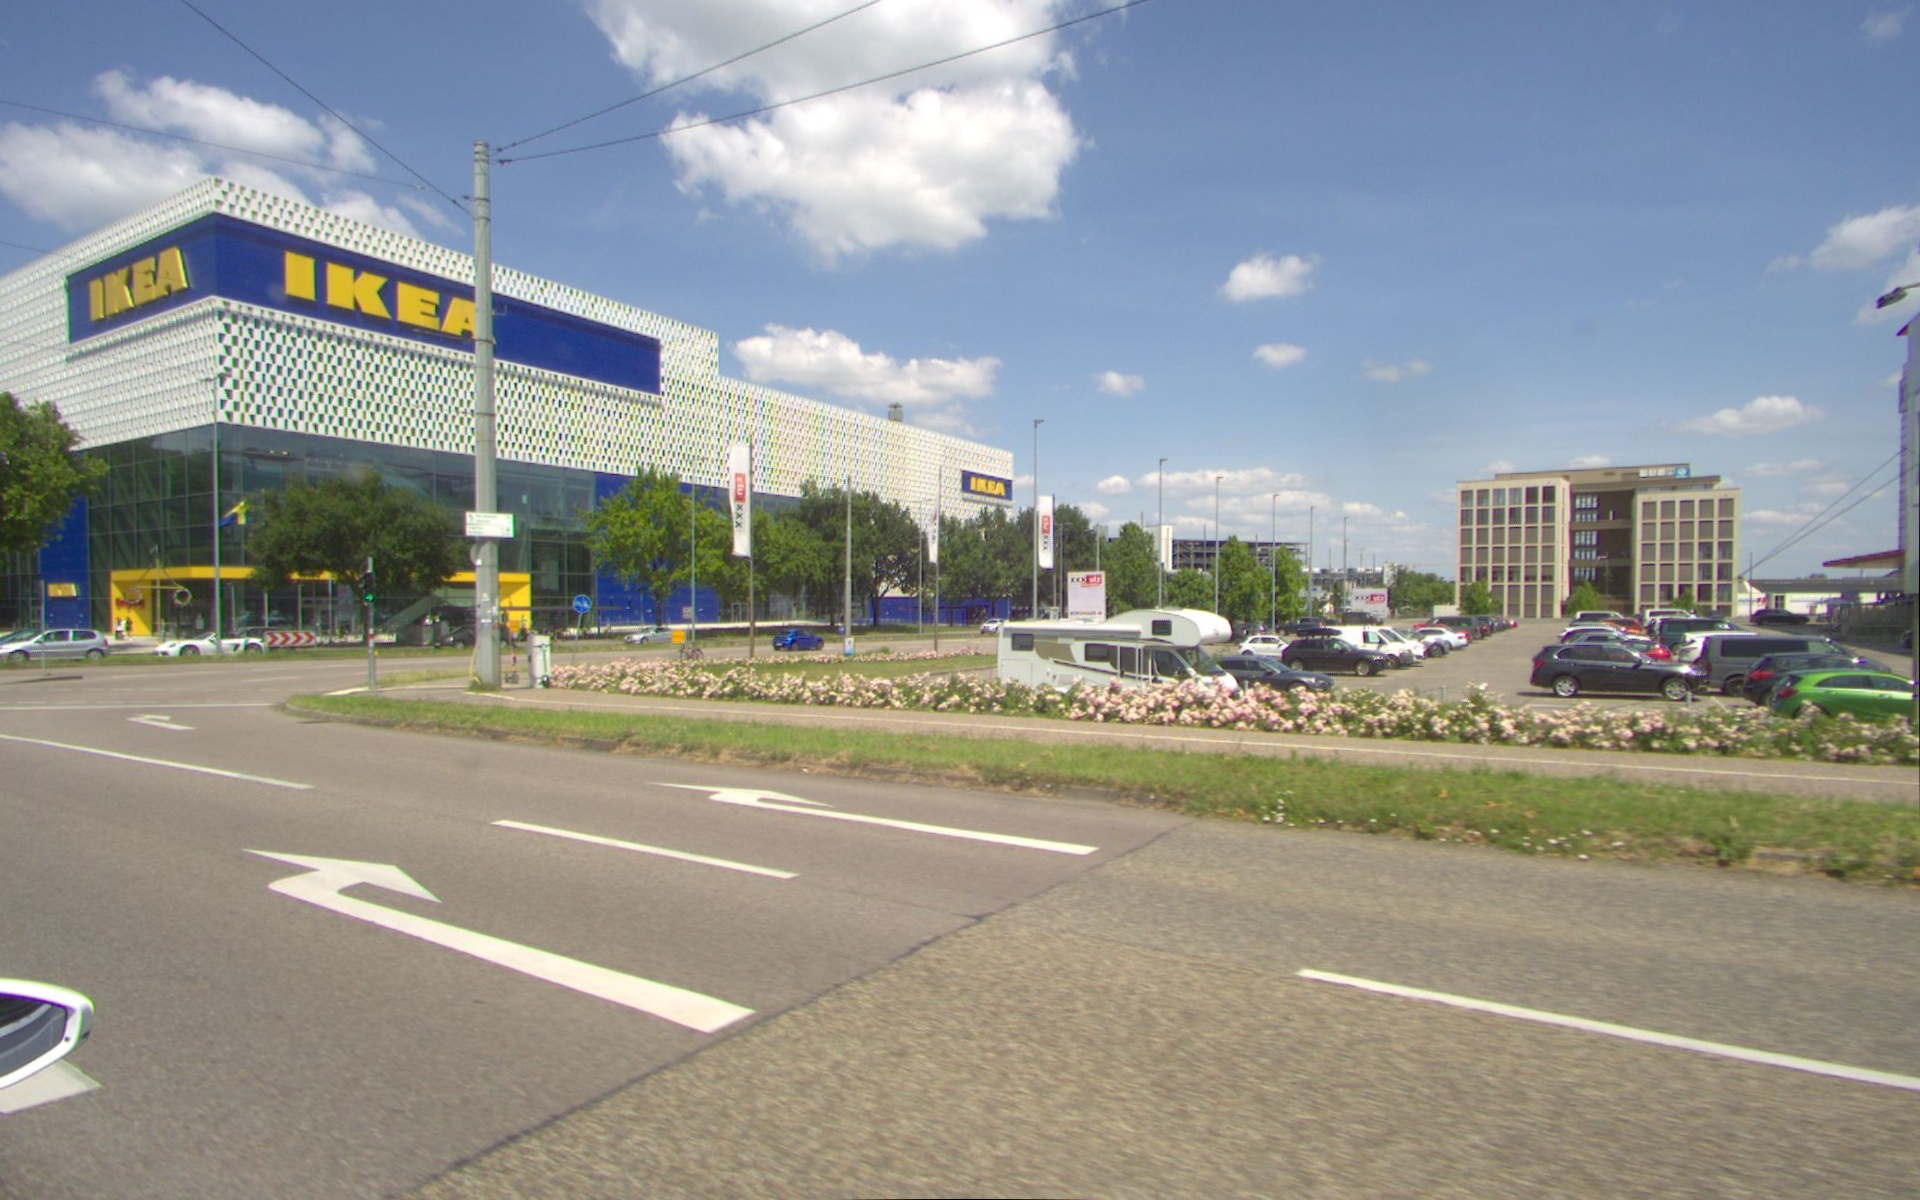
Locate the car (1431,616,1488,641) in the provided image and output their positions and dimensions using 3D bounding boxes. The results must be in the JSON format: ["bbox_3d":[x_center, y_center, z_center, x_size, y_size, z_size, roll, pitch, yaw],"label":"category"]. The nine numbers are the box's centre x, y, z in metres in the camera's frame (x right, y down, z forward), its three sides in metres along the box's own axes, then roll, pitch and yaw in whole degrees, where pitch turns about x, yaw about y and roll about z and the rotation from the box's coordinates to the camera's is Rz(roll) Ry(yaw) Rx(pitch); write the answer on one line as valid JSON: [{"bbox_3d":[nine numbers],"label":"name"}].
[{"bbox_3d":[40.415,2.304,81.004,3.942,2.040,1.990,-1,-1,32],"label":"car"}]

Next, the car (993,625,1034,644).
[{"bbox_3d":[4.511,2.854,83.552,1.741,1.546,4.080,0,-1,31],"label":"car"}]

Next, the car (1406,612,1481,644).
[{"bbox_3d":[36.291,2.109,75.229,4.929,2.333,1.990,0,-1,32],"label":"car"}]

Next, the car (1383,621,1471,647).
[{"bbox_3d":[30.114,2.167,64.641,4.929,1.631,1.990,-1,-1,32],"label":"car"}]

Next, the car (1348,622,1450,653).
[{"bbox_3d":[24.733,2.106,56.528,4.903,1.631,2.001,0,-1,2],"label":"car"}]

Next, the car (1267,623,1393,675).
[{"bbox_3d":[16.292,2.096,44.201,4.929,2.162,1.990,0,-1,32],"label":"car"}]

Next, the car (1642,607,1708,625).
[{"bbox_3d":[67.989,1.520,95.305,4.929,1.631,1.990,-1,-1,32],"label":"car"}]

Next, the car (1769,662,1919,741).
[{"bbox_3d":[21.631,2.333,23.209,4.241,1.517,1.988,-1,2,32],"label":"car"}]

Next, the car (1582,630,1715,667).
[{"bbox_3d":[31.793,2.216,46.442,4.927,1.631,1.991,0,-1,31],"label":"car"}]

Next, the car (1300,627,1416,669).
[{"bbox_3d":[19.130,2.261,48.225,4.929,1.876,1.990,-1,-1,32],"label":"car"}]

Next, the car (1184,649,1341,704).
[{"bbox_3d":[10.087,2.505,33.468,4.701,1.558,1.989,-1,0,32],"label":"car"}]

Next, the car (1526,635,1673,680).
[{"bbox_3d":[25.897,2.290,40.733,4.929,1.632,1.989,-1,0,32],"label":"car"}]

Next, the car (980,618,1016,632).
[{"bbox_3d":[4.337,2.849,113.625,1.973,1.505,4.486,0,-2,35],"label":"car"}]

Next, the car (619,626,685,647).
[{"bbox_3d":[-23.230,2.780,75.601,1.973,1.505,4.486,0,-2,35],"label":"car"}]

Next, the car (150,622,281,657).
[{"bbox_3d":[-34.258,1.828,46.183,1.973,1.505,4.486,0,-2,35],"label":"car"}]

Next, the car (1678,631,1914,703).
[{"bbox_3d":[26.034,2.029,31.521,5.455,2.039,1.990,-1,-1,32],"label":"car"}]

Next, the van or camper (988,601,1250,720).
[{"bbox_3d":[4.443,1.624,28.891,7.128,3.059,2.500,-1,-1,36],"label":"van or camper"}]

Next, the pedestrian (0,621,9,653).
[{"bbox_3d":[-50.606,1.953,52.747,0.699,1.656,0.607,1,-1,-39],"label":"pedestrian"}]

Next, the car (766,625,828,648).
[{"bbox_3d":[-11.046,2.459,67.969,1.822,1.473,3.971,0,-3,40],"label":"car"}]

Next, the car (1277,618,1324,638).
[{"bbox_3d":[32.427,2.643,95.262,3.942,1.863,1.819,-1,-1,32],"label":"car"}]

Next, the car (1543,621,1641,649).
[{"bbox_3d":[37.805,2.078,60.043,4.929,1.631,1.990,-1,-1,32],"label":"car"}]

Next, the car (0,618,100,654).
[{"bbox_3d":[-39.978,1.547,43.373,1.973,1.505,3.780,0,-2,35],"label":"car"}]

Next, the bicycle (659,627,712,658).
[{"bbox_3d":[-13.580,2.101,49.589,0.975,1.500,2.415,0,-1,36],"label":"bicycle"}]

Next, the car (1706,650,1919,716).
[{"bbox_3d":[23.592,2.225,27.386,4.929,1.570,1.990,-1,-1,32],"label":"car"}]

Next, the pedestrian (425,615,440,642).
[{"bbox_3d":[-40.603,2.172,77.007,0.813,2.040,0.709,0,-1,34],"label":"pedestrian"}]

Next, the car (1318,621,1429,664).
[{"bbox_3d":[20.720,2.092,50.271,4.929,2.033,1.990,0,-1,32],"label":"car"}]

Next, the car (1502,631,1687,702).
[{"bbox_3d":[20.419,2.083,32.439,4.929,2.040,1.989,0,1,32],"label":"car"}]

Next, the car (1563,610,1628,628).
[{"bbox_3d":[57.307,1.702,90.388,4.929,1.631,1.990,-1,-1,32],"label":"car"}]

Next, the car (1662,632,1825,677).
[{"bbox_3d":[31.160,2.128,40.053,4.929,1.631,1.990,-1,-1,32],"label":"car"}]

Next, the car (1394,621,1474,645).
[{"bbox_3d":[33.653,2.341,71.132,4.929,1.631,1.990,-1,-1,32],"label":"car"}]

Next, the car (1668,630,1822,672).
[{"bbox_3d":[32.939,2.105,42.228,4.929,1.672,1.990,-1,-1,32],"label":"car"}]

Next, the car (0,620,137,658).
[{"bbox_3d":[-37.272,1.622,41.522,1.973,1.505,4.486,0,-2,35],"label":"car"}]

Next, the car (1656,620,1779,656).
[{"bbox_3d":[40.944,2.020,54.293,5.105,1.889,1.991,0,-1,31],"label":"car"}]

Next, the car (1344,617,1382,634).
[{"bbox_3d":[48.436,3.083,120.303,4.068,2.040,1.479,-1,-1,32],"label":"car"}]

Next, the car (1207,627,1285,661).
[{"bbox_3d":[16.120,2.436,56.472,3.936,1.839,1.994,-1,-1,26],"label":"car"}]

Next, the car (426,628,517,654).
[{"bbox_3d":[-29.330,2.486,60.227,1.973,1.505,4.486,0,-2,35],"label":"car"}]

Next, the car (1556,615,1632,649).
[{"bbox_3d":[39.238,1.938,62.059,3.942,2.040,1.990,-1,-1,32],"label":"car"}]
